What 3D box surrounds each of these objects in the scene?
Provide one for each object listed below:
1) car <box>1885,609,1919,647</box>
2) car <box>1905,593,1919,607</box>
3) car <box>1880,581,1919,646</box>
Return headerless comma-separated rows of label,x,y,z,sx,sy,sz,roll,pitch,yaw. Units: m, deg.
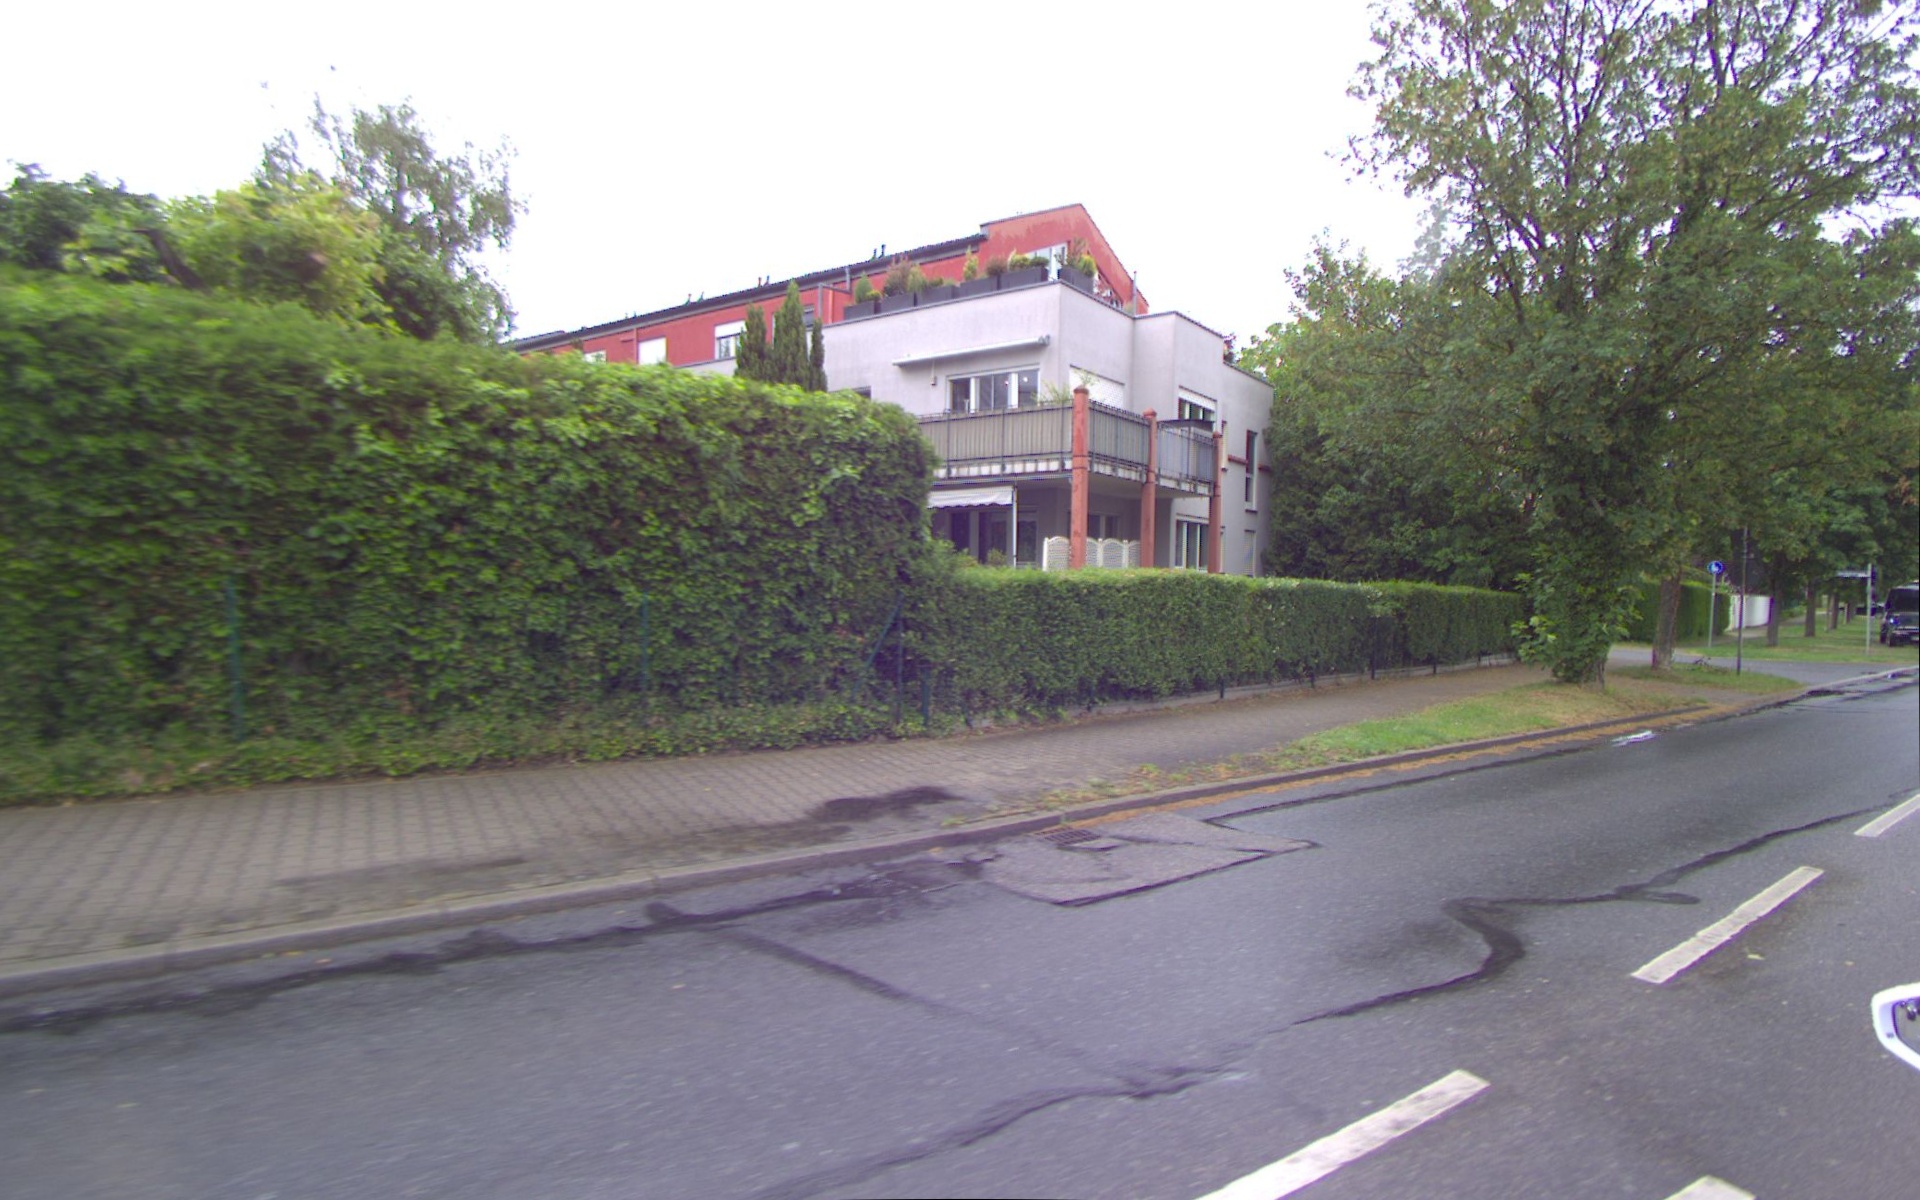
car,38.630,1.125,40.615,1.703,1.427,3.804,3,2,42
car,113.110,0.028,117.971,1.615,1.447,3.999,3,3,20
car,43.305,0.601,45.665,1.972,2.765,5.903,5,3,43
